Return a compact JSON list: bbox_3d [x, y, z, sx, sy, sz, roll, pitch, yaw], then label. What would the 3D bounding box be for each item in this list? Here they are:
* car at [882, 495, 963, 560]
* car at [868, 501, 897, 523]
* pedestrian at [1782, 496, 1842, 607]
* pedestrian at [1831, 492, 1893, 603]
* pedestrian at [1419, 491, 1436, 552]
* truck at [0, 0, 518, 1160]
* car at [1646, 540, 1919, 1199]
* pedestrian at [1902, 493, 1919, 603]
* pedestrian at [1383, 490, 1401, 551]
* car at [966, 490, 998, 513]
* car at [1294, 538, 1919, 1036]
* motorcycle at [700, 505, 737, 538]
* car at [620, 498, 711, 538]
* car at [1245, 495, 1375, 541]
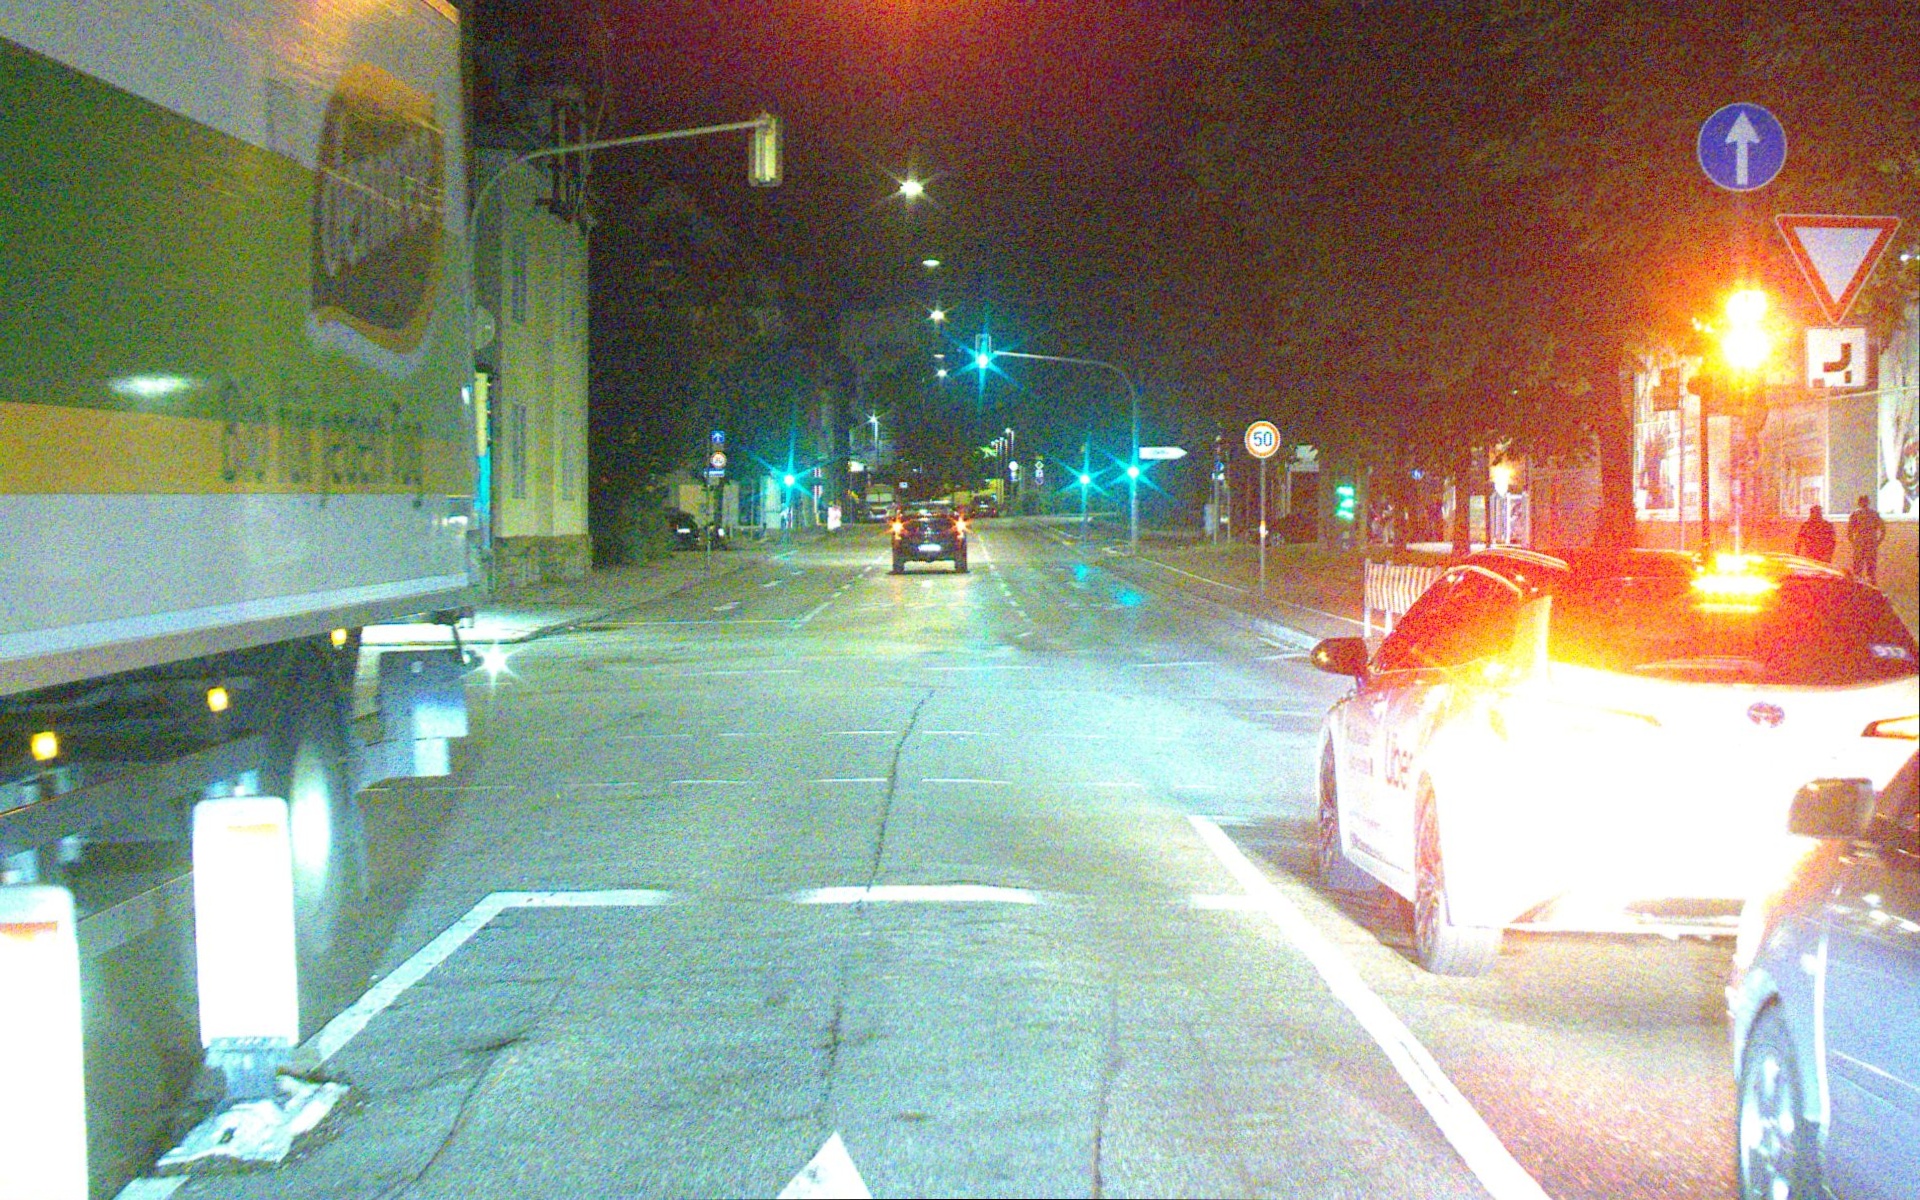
[{"bbox_3d":[-0.992,-1.863,88.078,1.993,1.634,4.001,0,1,-2],"label":"car"},{"bbox_3d":[-4.989,-5.689,220.878,1.777,1.385,4.001,-1,2,-2],"label":"car"},{"bbox_3d":[13.685,-0.785,55.241,0.714,1.763,0.907,-1,1,0],"label":"pedestrian"},{"bbox_3d":[14.497,-0.847,55.276,0.738,1.763,0.907,-1,1,0],"label":"pedestrian"},{"bbox_3d":[15.588,-2.615,114.667,0.487,2.007,0.551,0,1,-1],"label":"pedestrian"},{"bbox_3d":[-3.392,-0.689,9.272,2.755,3.705,10.113,-1,1,2],"label":"truck"},{"bbox_3d":[2.412,0.685,5.778,1.637,1.489,4.000,2,1,0],"label":"car"},{"bbox_3d":[15.770,-0.844,55.455,0.901,1.763,0.907,-1,1,0],"label":"pedestrian"},{"bbox_3d":[14.402,-2.644,114.621,0.531,2.007,0.670,0,1,-1],"label":"pedestrian"},{"bbox_3d":[1.475,-6.742,235.442,1.993,1.590,4.001,0,1,-3],"label":"car"},{"bbox_3d":[2.354,0.532,12.470,1.729,1.430,4.211,2,1,-1],"label":"car"},{"bbox_3d":[-8.936,-2.891,127.099,0.781,1.200,2.450,-1,2,-19],"label":"motorcycle"},{"bbox_3d":[-11.122,-3.094,129.823,1.803,1.481,4.000,-2,2,-32],"label":"car"},{"bbox_3d":[10.983,-2.587,108.111,3.987,1.381,1.771,0,2,3],"label":"car"}]
